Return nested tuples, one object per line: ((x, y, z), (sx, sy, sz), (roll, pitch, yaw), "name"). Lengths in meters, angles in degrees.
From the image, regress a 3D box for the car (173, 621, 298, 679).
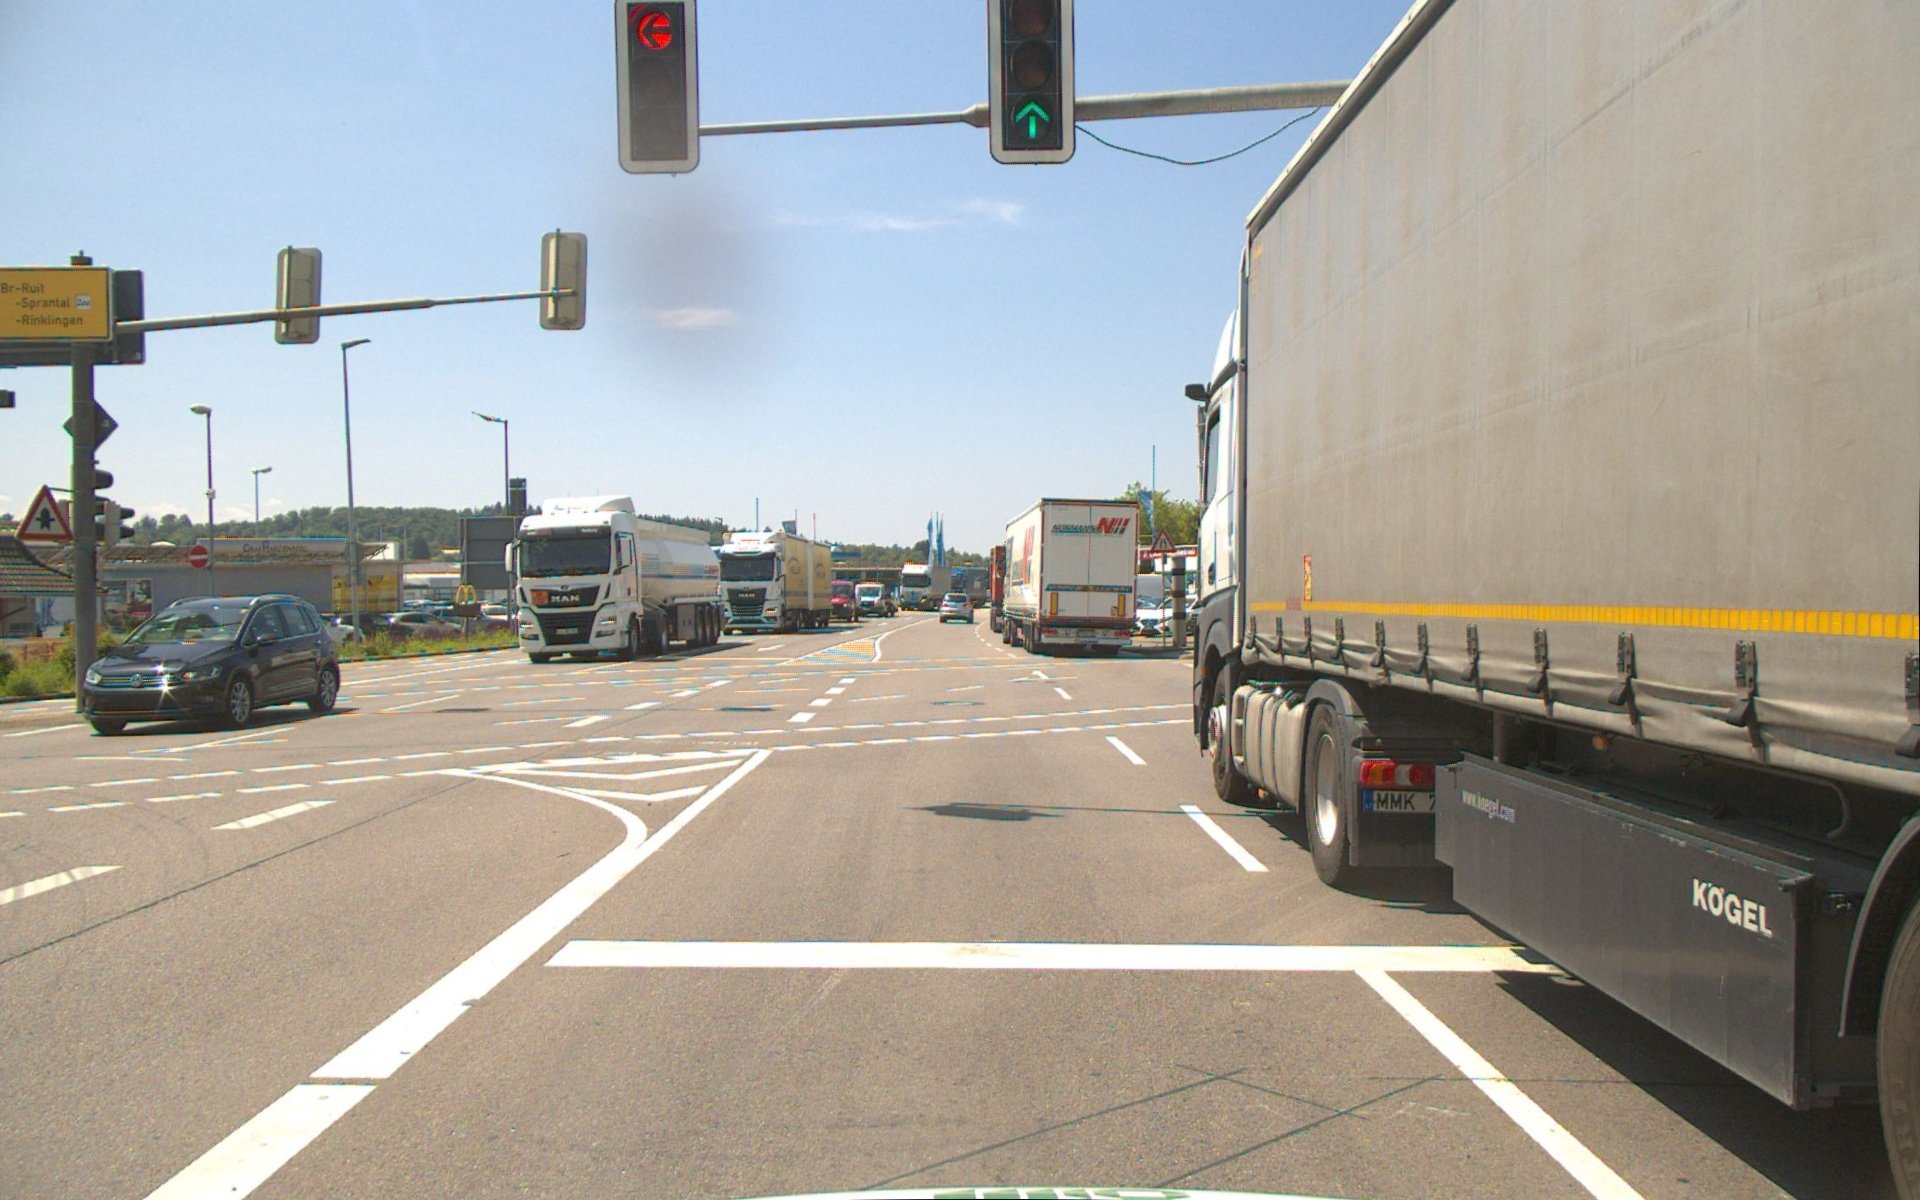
((-27.685, 1.879, 63.264), (1.904, 2.049, 3.985), (-1, 0, 36), "car")

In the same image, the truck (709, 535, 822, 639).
((-8.185, -0.521, 71.542), (2.874, 4.019, 13.867), (-1, 0, 1), "truck")

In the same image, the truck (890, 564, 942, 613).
((-3.931, -0.932, 151.128), (3.202, 4.019, 13.871), (0, -1, 5), "truck")

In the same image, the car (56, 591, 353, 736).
((-9.526, 0.730, 21.272), (1.788, 1.610, 4.246), (-2, 0, 1), "car")

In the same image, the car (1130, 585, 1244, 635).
((8.651, 0.363, 63.314), (3.913, 1.825, 1.996), (-1, 0, -9), "car")

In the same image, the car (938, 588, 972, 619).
((-0.266, 0.203, 95.391), (1.767, 1.699, 4.292), (1, 0, 1), "car")

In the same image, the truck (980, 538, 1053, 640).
((2.661, -0.336, 82.765), (2.816, 4.557, 16.650), (1, -1, -1), "truck")

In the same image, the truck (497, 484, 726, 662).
((-8.980, -0.633, 44.994), (2.874, 4.019, 14.239), (-1, 0, 1), "truck")

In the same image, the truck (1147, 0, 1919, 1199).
((3.085, -0.628, 6.011), (2.699, 4.720, 16.650), (1, -1, -1), "truck")

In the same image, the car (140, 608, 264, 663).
((-29.573, 1.358, 64.590), (1.904, 2.049, 3.985), (-1, 0, 36), "car")

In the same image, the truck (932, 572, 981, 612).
((-0.295, -0.822, 173.632), (3.201, 4.019, 13.876), (-1, 0, 8), "truck")

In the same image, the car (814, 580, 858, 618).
((-6.953, -0.043, 93.276), (1.952, 2.049, 4.001), (0, -1, 3), "car")

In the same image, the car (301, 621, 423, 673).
((-22.610, 1.756, 62.638), (1.959, 1.825, 3.986), (-1, 0, 35), "car")

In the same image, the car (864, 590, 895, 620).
((-5.799, 0.391, 119.350), (1.865, 2.049, 4.001), (0, -1, 3), "car")

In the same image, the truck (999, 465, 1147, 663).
((3.026, -0.911, 49.149), (2.875, 4.922, 14.866), (-1, 0, -2), "truck")

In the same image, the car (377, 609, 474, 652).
((-22.880, 1.289, 70.827), (1.758, 1.687, 3.569), (-1, 0, 41), "car")

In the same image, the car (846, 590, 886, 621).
((-6.351, 0.361, 112.424), (2.157, 2.049, 4.757), (-1, 0, 3), "car")

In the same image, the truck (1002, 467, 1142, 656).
((3.018, -0.786, 49.708), (2.816, 4.720, 16.650), (1, -1, -1), "truck")
